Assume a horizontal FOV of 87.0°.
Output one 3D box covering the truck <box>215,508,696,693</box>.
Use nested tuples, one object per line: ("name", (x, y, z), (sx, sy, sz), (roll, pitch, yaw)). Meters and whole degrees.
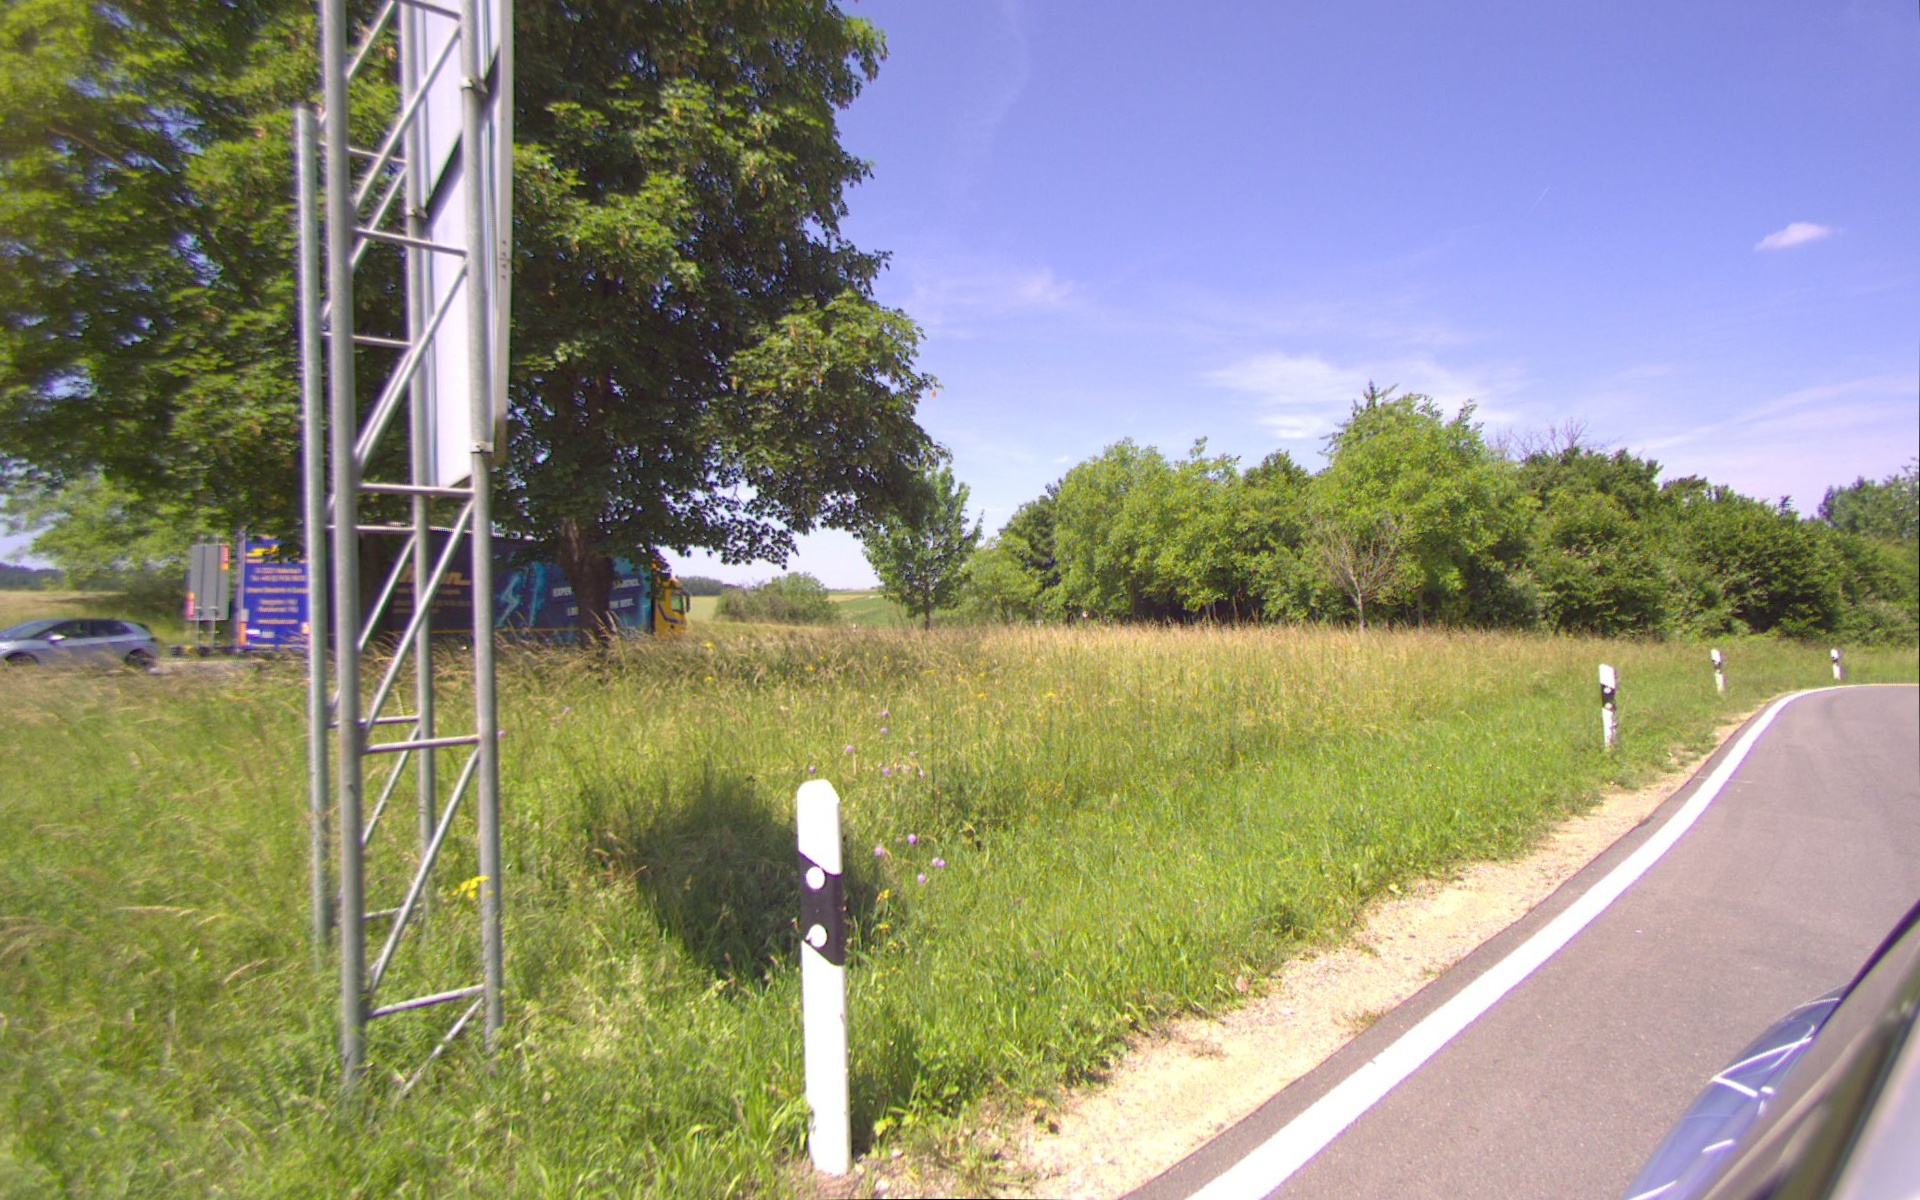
("truck", (-13.764, 0.113, 31.286), (2.811, 4.184, 16.725), (0, -1, 16))

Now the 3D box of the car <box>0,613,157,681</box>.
("car", (-23.088, 1.151, 25.679), (1.632, 1.573, 3.999), (1, -1, 17))
